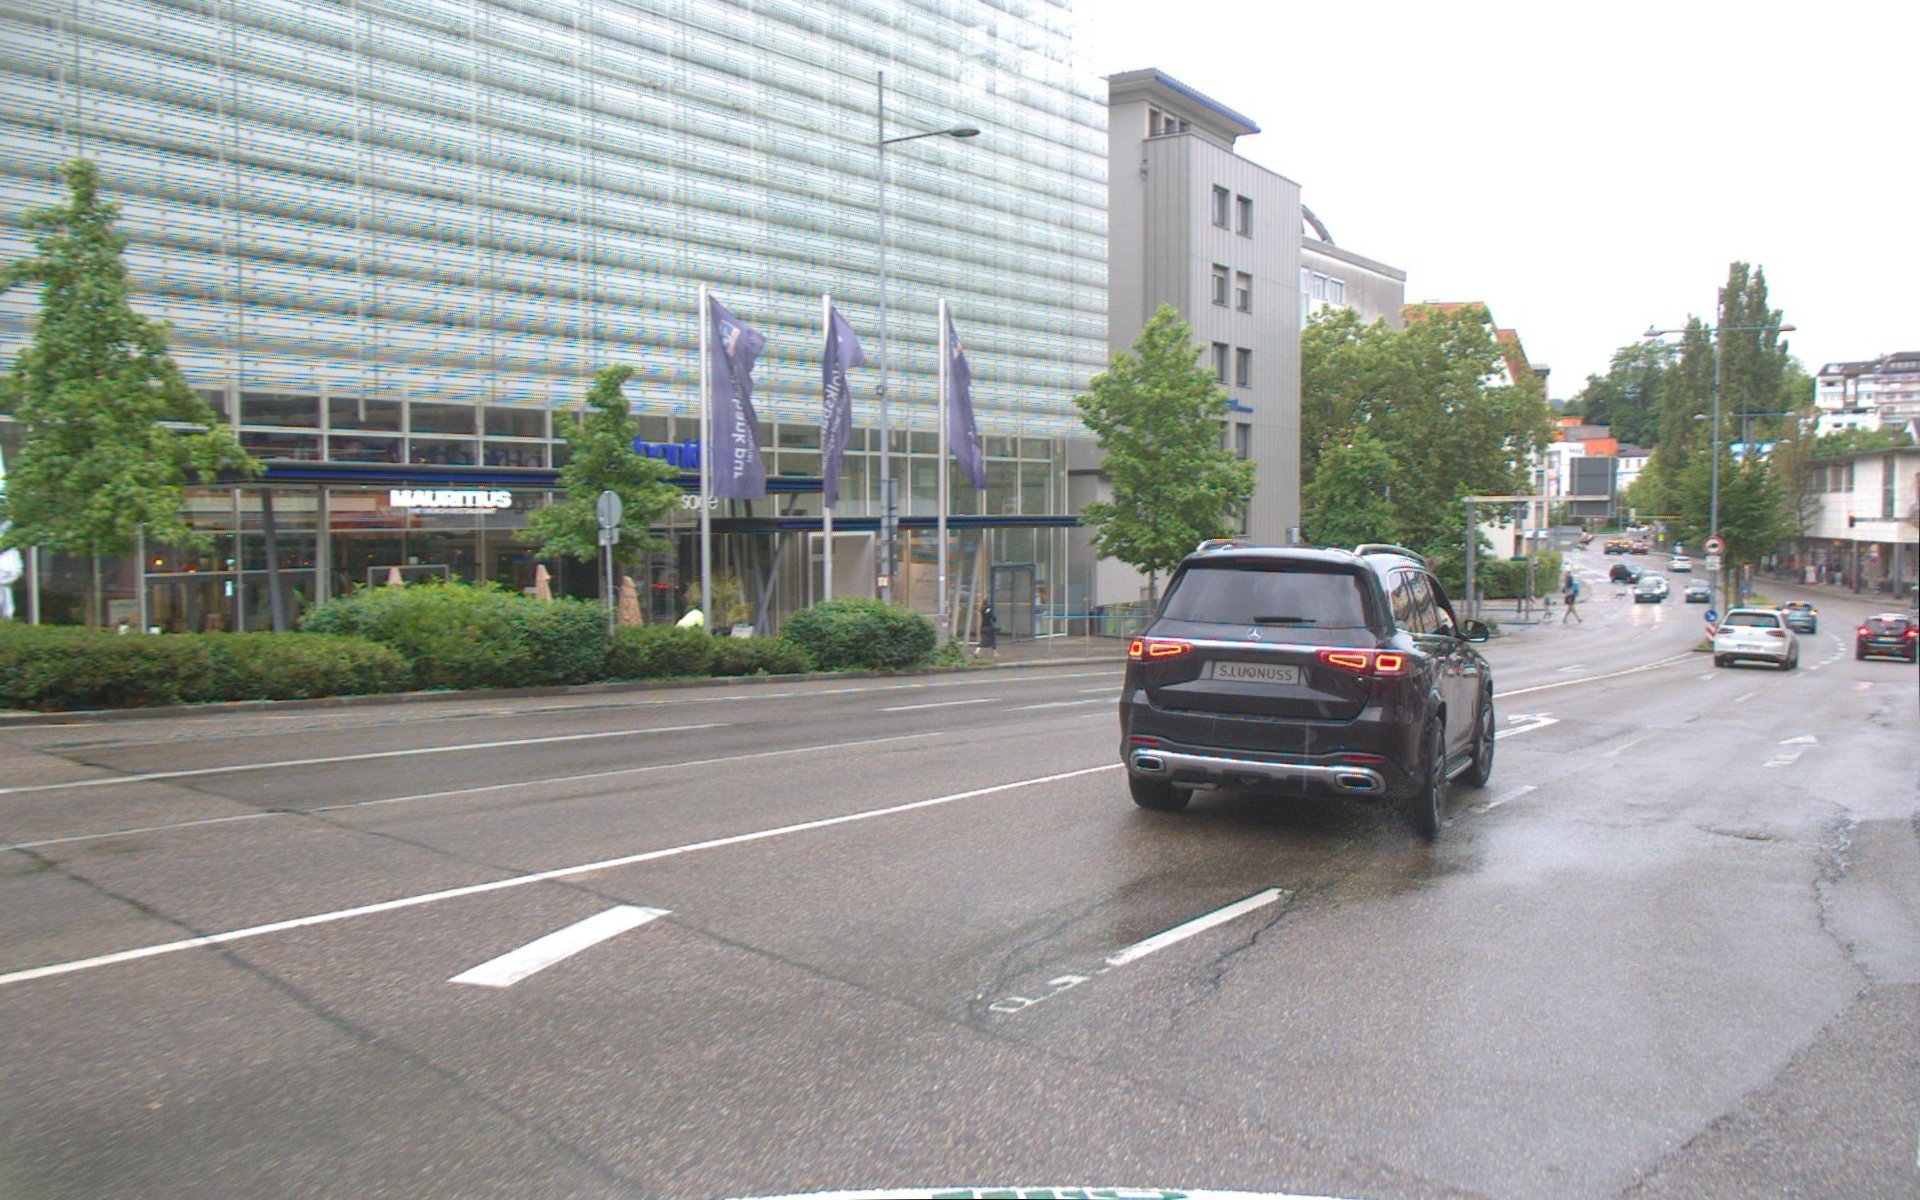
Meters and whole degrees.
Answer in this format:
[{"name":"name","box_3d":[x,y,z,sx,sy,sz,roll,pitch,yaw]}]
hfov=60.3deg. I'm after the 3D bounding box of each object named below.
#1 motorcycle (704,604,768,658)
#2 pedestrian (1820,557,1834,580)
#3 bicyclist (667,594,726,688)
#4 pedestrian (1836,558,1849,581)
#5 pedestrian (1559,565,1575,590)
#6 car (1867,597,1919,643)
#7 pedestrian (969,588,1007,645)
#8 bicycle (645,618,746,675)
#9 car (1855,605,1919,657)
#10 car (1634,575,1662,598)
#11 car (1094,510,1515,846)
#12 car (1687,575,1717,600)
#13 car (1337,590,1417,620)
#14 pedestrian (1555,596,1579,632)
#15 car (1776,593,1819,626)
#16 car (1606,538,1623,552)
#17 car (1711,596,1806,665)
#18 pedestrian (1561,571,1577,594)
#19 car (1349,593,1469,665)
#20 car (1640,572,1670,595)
[{"name":"motorcycle","box_3d":[-5.796,0.786,42.778,1.522,1.318,0.766,1,1,37]},{"name":"pedestrian","box_3d":[70.815,-2.562,135.063,0.828,1.834,1.057,0,0,15]},{"name":"bicyclist","box_3d":[-5.358,0.822,33.602,0.659,1.862,0.984,0,-1,42]},{"name":"pedestrian","box_3d":[72.037,-2.512,135.028,0.687,1.834,0.939,0,0,15]},{"name":"pedestrian","box_3d":[43.866,-1.607,119.534,0.886,1.834,0.626,0,0,-11]},{"name":"car","box_3d":[36.201,0.736,63.960,1.726,1.569,3.996,2,2,26]},{"name":"pedestrian","box_3d":[0.757,0.427,44.074,0.641,1.482,0.841,0,0,36]},{"name":"bicycle","box_3d":[-5.354,0.935,33.614,0.668,1.118,2.058,0,-1,42]},{"name":"car","box_3d":[30.561,1.000,54.295,1.776,1.465,3.997,4,3,25]},{"name":"car","box_3d":[46.732,-0.920,112.454,1.671,1.476,3.861,2,1,22]},{"name":"car","box_3d":[2.718,0.420,11.952,2.045,1.848,4.791,3,1,23]},{"name":"car","box_3d":[50.073,-0.862,111.644,1.784,1.576,3.998,2,1,25]},{"name":"car","box_3d":[25.023,0.285,99.311,4.495,1.508,1.943,3,1,18]},{"name":"pedestrian","box_3d":[33.132,0.771,90.243,1.045,1.915,0.835,1,0,36]},{"name":"car","box_3d":[41.401,0.453,81.815,1.759,1.493,3.996,2,2,26]},{"name":"car","box_3d":[80.459,-6.789,203.406,1.712,1.581,3.570,2,1,19]},{"name":"car","box_3d":[20.548,0.735,42.487,1.913,1.601,3.993,2,1,29]},{"name":"pedestrian","box_3d":[43.412,-1.274,117.939,0.906,1.636,0.562,0,0,-11]},{"name":"car","box_3d":[10.539,0.646,38.627,1.806,1.579,4.087,-1,0,29]},{"name":"car","box_3d":[50.115,-1.210,119.317,1.741,1.576,4.001,2,1,20]}]
